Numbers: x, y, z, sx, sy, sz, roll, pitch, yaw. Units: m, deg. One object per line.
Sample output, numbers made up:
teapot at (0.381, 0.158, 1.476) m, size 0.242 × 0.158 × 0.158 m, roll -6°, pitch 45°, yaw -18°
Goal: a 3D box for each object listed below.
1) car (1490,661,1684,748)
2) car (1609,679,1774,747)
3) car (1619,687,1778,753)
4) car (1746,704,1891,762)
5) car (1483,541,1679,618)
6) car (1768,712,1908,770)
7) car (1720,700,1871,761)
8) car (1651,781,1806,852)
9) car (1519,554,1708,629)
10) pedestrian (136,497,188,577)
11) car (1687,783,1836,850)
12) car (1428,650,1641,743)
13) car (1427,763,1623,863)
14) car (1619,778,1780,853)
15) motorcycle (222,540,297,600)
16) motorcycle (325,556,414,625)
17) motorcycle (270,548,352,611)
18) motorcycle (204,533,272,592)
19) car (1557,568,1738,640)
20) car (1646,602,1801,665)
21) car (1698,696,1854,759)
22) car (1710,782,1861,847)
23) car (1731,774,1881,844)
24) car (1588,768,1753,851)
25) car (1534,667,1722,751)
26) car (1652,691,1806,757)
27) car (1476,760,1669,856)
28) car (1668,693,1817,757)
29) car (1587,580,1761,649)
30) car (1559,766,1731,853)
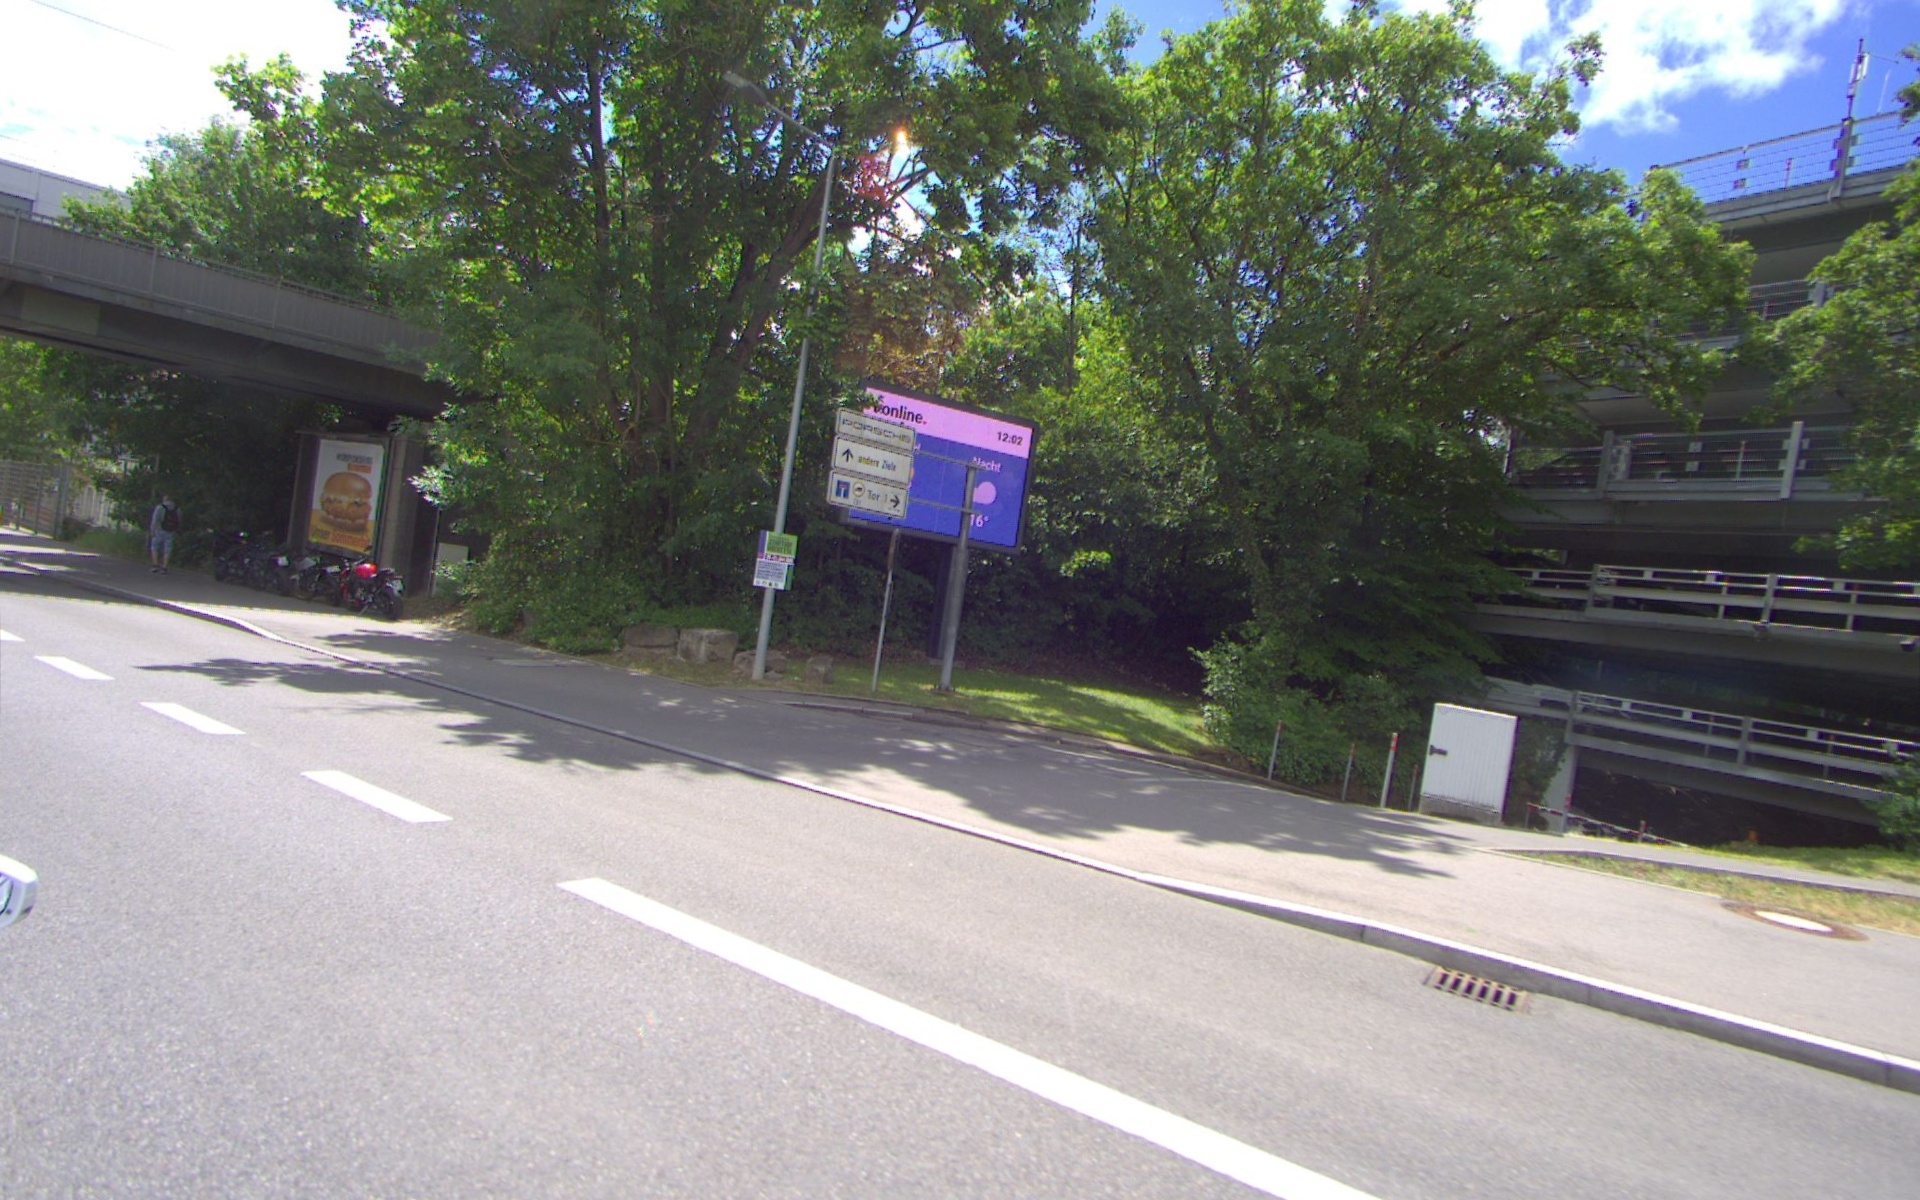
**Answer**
car at (16.243, 2.678, 26.225) m, size 1.762 × 1.490 × 3.760 m, roll 9°, pitch 0°, yaw -35°
car at (21.840, 3.356, 30.140) m, size 1.619 × 1.448 × 3.588 m, roll 8°, pitch -1°, yaw -36°
car at (23.344, 3.779, 31.896) m, size 1.742 × 1.460 × 3.588 m, roll 8°, pitch -1°, yaw -36°
car at (33.020, 5.109, 38.787) m, size 1.742 × 1.559 × 3.850 m, roll 8°, pitch -1°, yaw -36°
car at (14.966, -0.535, 24.412) m, size 1.619 × 1.542 × 3.588 m, roll 8°, pitch -1°, yaw -36°
car at (35.888, 5.739, 41.195) m, size 1.742 × 1.658 × 3.934 m, roll 8°, pitch -1°, yaw -36°
car at (30.572, 4.767, 36.910) m, size 1.742 × 1.559 × 3.850 m, roll 8°, pitch -1°, yaw -36°
car at (24.811, 6.946, 32.571) m, size 1.560 × 1.430 × 3.588 m, roll 8°, pitch -1°, yaw -36°
car at (16.604, -0.249, 25.705) m, size 1.619 × 1.542 × 3.588 m, roll 8°, pitch -1°, yaw -36°
pedestrian at (-19.892, -1.565, 25.072) m, size 0.858 × 1.881 × 0.623 m, roll 6°, pitch 0°, yaw 33°
car at (27.267, 7.343, 34.312) m, size 1.560 × 1.430 × 3.588 m, roll 8°, pitch -1°, yaw -36°
car at (14.179, 2.347, 25.048) m, size 1.762 × 1.490 × 4.098 m, roll 9°, pitch 0°, yaw -35°
car at (13.958, 5.235, 25.030) m, size 1.682 × 1.450 × 3.760 m, roll 9°, pitch 0°, yaw -35°
car at (22.989, 6.663, 31.386) m, size 1.742 × 1.460 × 3.588 m, roll 8°, pitch -1°, yaw -36°
motorcycle at (-15.587, -0.682, 22.379) m, size 1.984 × 1.124 × 0.547 m, roll 6°, pitch 0°, yaw 32°
motorcycle at (-11.540, -0.195, 19.649) m, size 1.984 × 1.124 × 0.547 m, roll 6°, pitch 0°, yaw 32°
motorcycle at (-13.587, -0.437, 21.038) m, size 1.984 × 1.124 × 0.547 m, roll 6°, pitch 0°, yaw 32°
motorcycle at (-17.077, -0.897, 23.772) m, size 1.872 × 1.213 × 0.547 m, roll 6°, pitch 0°, yaw 32°
car at (18.455, 0.076, 27.120) m, size 1.619 × 1.542 × 3.588 m, roll 8°, pitch -1°, yaw -36°
car at (23.815, 1.006, 31.469) m, size 1.478 × 1.542 × 3.467 m, roll 8°, pitch -1°, yaw -36°
car at (28.699, 4.457, 35.495) m, size 1.742 × 1.559 × 3.850 m, roll 8°, pitch -1°, yaw -36°
car at (30.092, 7.789, 36.768) m, size 1.742 × 1.458 × 3.850 m, roll 8°, pitch -1°, yaw -36°
car at (32.556, 8.000, 38.806) m, size 1.868 × 1.793 × 3.963 m, roll 8°, pitch -1°, yaw -34°
car at (21.321, 6.248, 30.290) m, size 1.742 × 1.658 × 3.588 m, roll 8°, pitch -1°, yaw -36°
car at (18.113, 2.939, 27.424) m, size 1.762 × 1.490 × 3.760 m, roll 9°, pitch 0°, yaw -35°
car at (25.209, 4.040, 33.065) m, size 1.742 × 1.559 × 3.588 m, roll 8°, pitch -1°, yaw -36°
car at (15.859, 5.358, 26.210) m, size 1.762 × 1.490 × 3.760 m, roll 9°, pitch 0°, yaw -35°
car at (26.752, 4.264, 34.468) m, size 1.742 × 1.559 × 3.588 m, roll 8°, pitch -1°, yaw -36°
car at (20.152, 0.371, 28.510) m, size 1.619 × 1.542 × 3.588 m, roll 8°, pitch -1°, yaw -36°
car at (19.634, 5.953, 28.954) m, size 1.742 × 1.658 × 3.588 m, roll 8°, pitch -1°, yaw -36°
